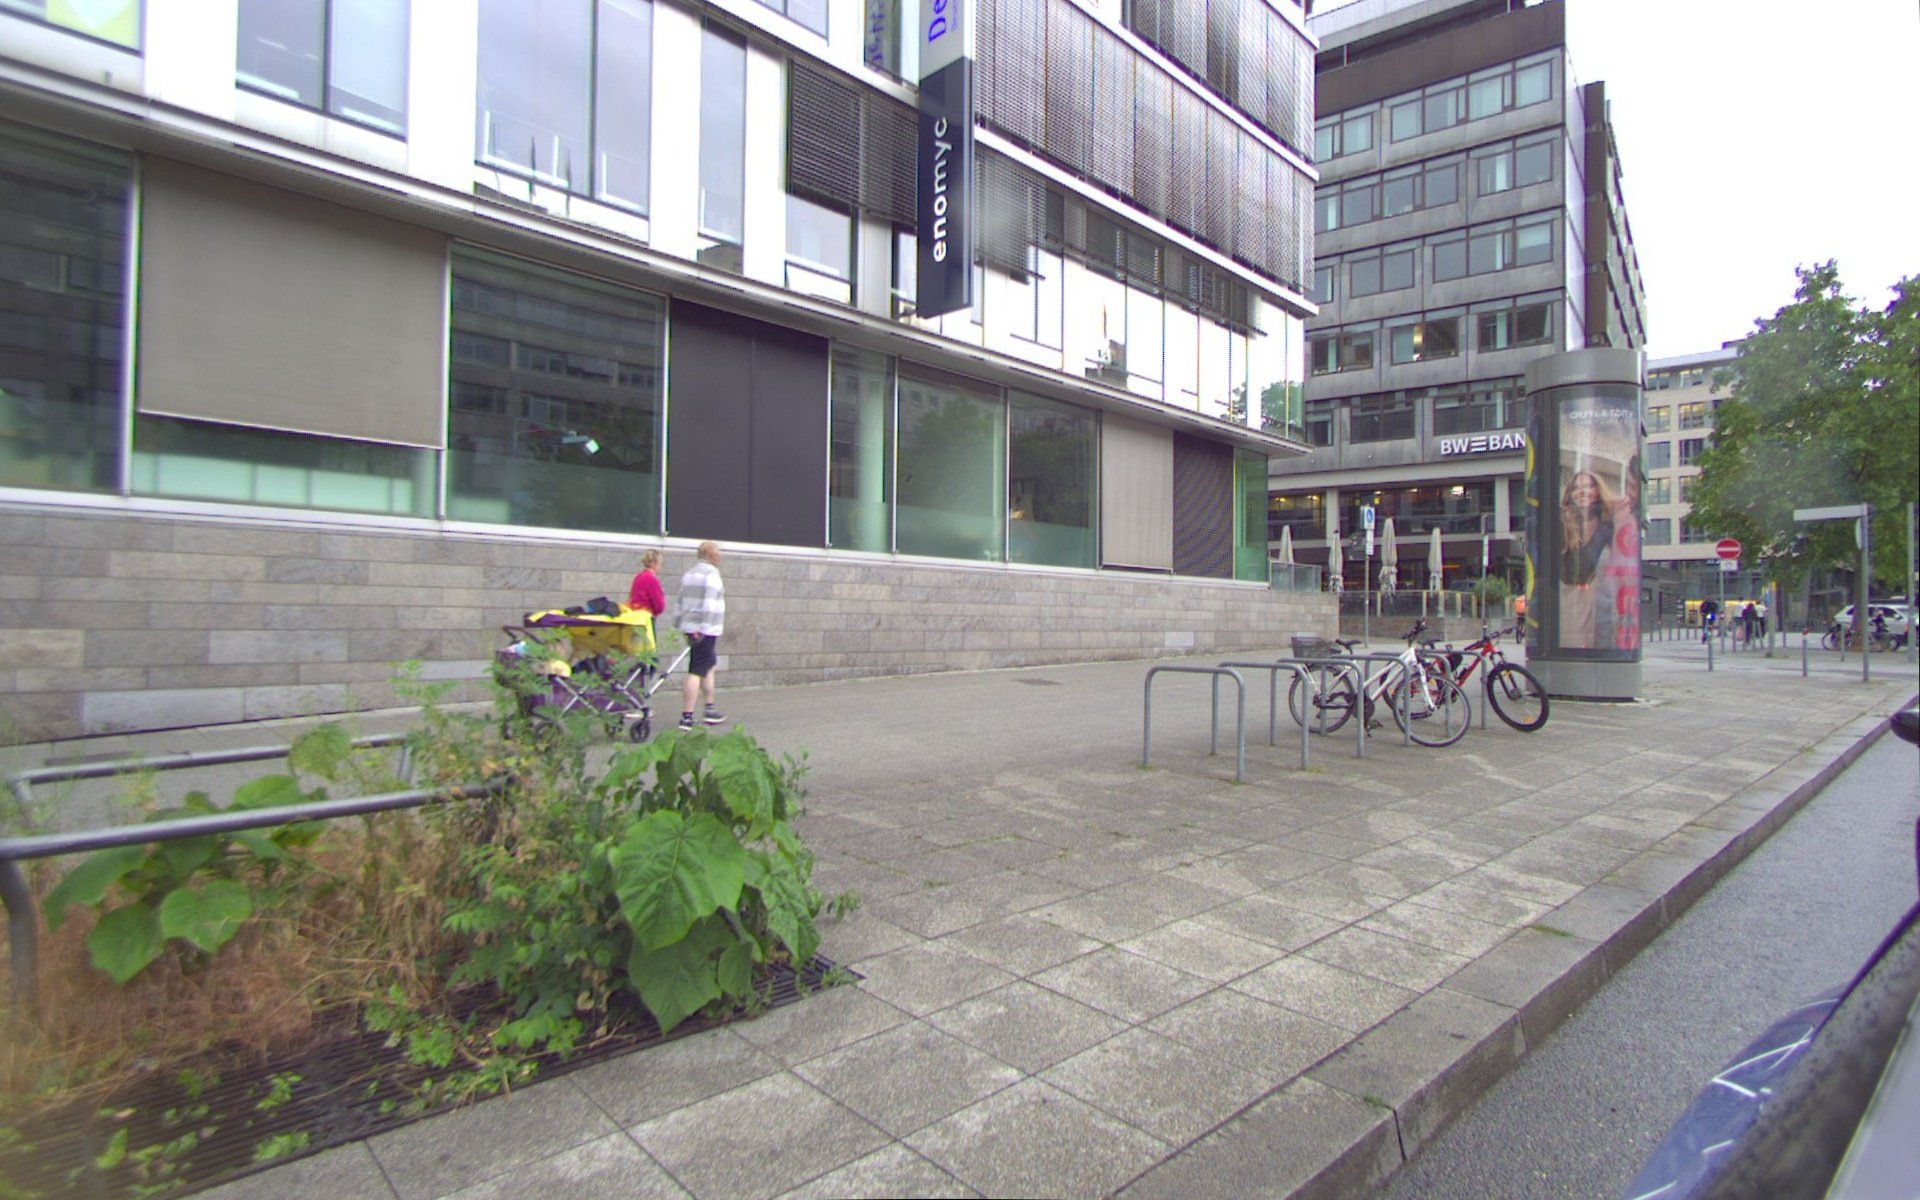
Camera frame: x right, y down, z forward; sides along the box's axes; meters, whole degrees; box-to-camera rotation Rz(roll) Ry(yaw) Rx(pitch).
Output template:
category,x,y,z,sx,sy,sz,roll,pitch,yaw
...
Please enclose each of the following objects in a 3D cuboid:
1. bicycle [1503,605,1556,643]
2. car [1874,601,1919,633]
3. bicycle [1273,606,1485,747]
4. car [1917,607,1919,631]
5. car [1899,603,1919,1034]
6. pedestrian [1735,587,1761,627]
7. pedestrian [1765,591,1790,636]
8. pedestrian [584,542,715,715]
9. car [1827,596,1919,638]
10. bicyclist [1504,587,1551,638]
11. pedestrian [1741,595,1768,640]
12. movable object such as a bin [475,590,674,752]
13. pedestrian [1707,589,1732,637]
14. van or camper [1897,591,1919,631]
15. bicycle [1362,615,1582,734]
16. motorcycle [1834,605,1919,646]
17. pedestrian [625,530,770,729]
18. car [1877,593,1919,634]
category,x,y,z,sx,sy,sz,roll,pitch,yaw
bicycle,18.529,0.761,32.903,1.009,1.128,2.034,1,1,44
car,46.769,0.804,48.222,1.876,1.557,4.399,0,-1,-14
bicycle,4.038,0.681,9.892,0.648,1.212,1.841,1,0,-37
car,58.712,1.075,58.934,1.673,1.442,4.068,0,-1,-12
car,5.097,0.728,4.084,3.769,1.435,1.631,0,-1,-43
pedestrian,37.530,0.351,48.191,0.883,1.893,0.801,1,-2,-44
pedestrian,38.428,0.643,47.596,0.849,2.065,0.742,-2,-2,42
pedestrian,-3.265,0.266,10.653,0.718,1.711,1.082,2,1,44
car,38.712,0.682,41.372,1.876,1.671,4.812,0,-1,-11
bicyclist,18.349,0.412,32.730,1.011,1.603,1.118,-4,-3,43
pedestrian,30.704,0.685,39.106,0.520,1.707,0.719,1,-2,-44
movable object such as a bin,-3.318,0.576,8.769,1.420,1.280,0.732,2,-2,-44
pedestrian,30.593,0.529,40.773,0.719,1.908,0.646,-2,-2,43
van or camper,61.324,0.633,61.434,2.267,2.479,6.276,0,-1,-11
bicycle,5.497,0.747,10.983,0.793,1.118,1.989,1,0,-37
motorcycle,31.745,0.879,35.081,0.664,1.375,2.090,1,-2,-34
pedestrian,-2.562,0.254,9.906,0.900,1.814,1.030,3,1,44
car,48.778,0.659,50.233,1.882,2.018,4.525,0,-1,-12
